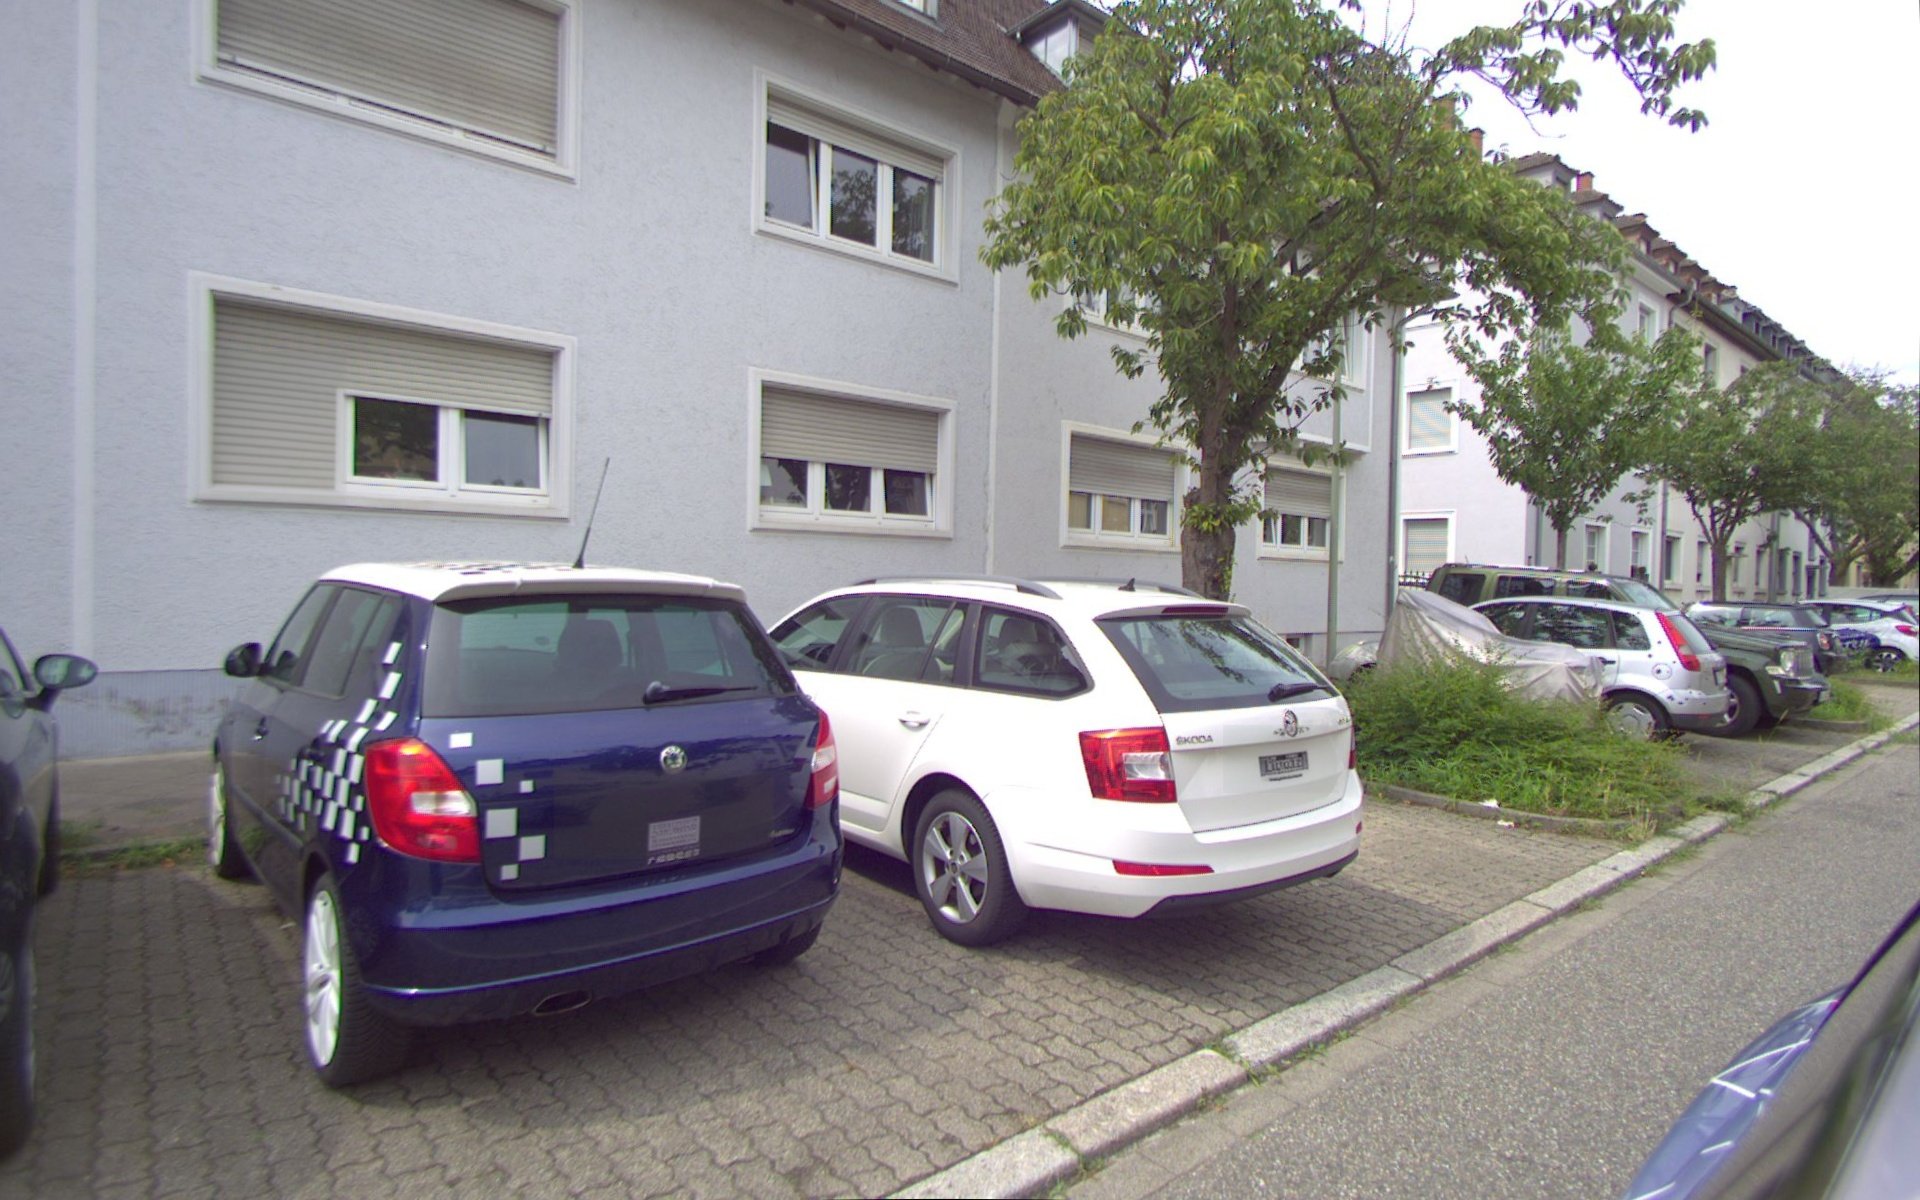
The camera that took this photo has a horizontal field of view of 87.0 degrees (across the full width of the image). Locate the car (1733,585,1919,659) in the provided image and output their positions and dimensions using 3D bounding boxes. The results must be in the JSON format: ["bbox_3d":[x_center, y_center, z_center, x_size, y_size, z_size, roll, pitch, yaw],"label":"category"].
[{"bbox_3d":[21.375,0.487,24.574,1.831,1.459,3.759,0,4,-38],"label":"car"}]

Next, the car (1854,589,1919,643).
[{"bbox_3d":[31.273,0.575,32.026,1.871,1.617,4.224,0,4,-41],"label":"car"}]

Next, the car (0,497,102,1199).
[{"bbox_3d":[-3.711,0.429,3.004,1.682,1.526,3.998,0,4,-39],"label":"car"}]

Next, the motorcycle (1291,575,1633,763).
[{"bbox_3d":[4.647,0.535,9.589,1.014,1.482,2.704,0,2,-43],"label":"motorcycle"}]

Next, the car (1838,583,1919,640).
[{"bbox_3d":[29.451,0.406,30.539,1.871,1.617,4.223,0,4,-41],"label":"car"}]

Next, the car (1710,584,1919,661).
[{"bbox_3d":[19.853,0.462,23.185,1.738,1.427,3.994,0,4,-42],"label":"car"}]

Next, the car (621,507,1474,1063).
[{"bbox_3d":[-0.061,0.402,5.437,1.858,1.684,4.628,0,4,-38],"label":"car"}]

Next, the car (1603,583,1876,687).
[{"bbox_3d":[13.987,0.544,18.298,1.777,1.470,3.552,0,4,-40],"label":"car"}]

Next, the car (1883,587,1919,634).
[{"bbox_3d":[36.770,0.491,36.916,1.868,1.698,4.229,0,4,-37],"label":"car"}]

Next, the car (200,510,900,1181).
[{"bbox_3d":[-2.128,0.423,4.364,1.682,1.526,3.998,0,4,-39],"label":"car"}]

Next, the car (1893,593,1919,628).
[{"bbox_3d":[41.691,0.558,42.098,1.609,1.437,3.997,2,3,-40],"label":"car"}]

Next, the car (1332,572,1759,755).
[{"bbox_3d":[6.208,0.528,11.011,1.743,1.472,3.630,0,4,-43],"label":"car"}]

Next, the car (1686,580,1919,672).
[{"bbox_3d":[17.879,0.473,21.224,1.738,1.548,3.994,0,4,-42],"label":"car"}]

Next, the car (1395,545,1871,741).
[{"bbox_3d":[8.087,0.341,12.626,1.759,1.880,4.541,0,4,-37],"label":"car"}]

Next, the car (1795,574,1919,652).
[{"bbox_3d":[23.749,0.360,25.173,1.868,1.756,4.229,0,4,-37],"label":"car"}]

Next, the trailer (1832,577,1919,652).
[{"bbox_3d":[25.451,0.399,27.024,1.374,1.853,2.972,0,4,-36],"label":"trailer"}]
